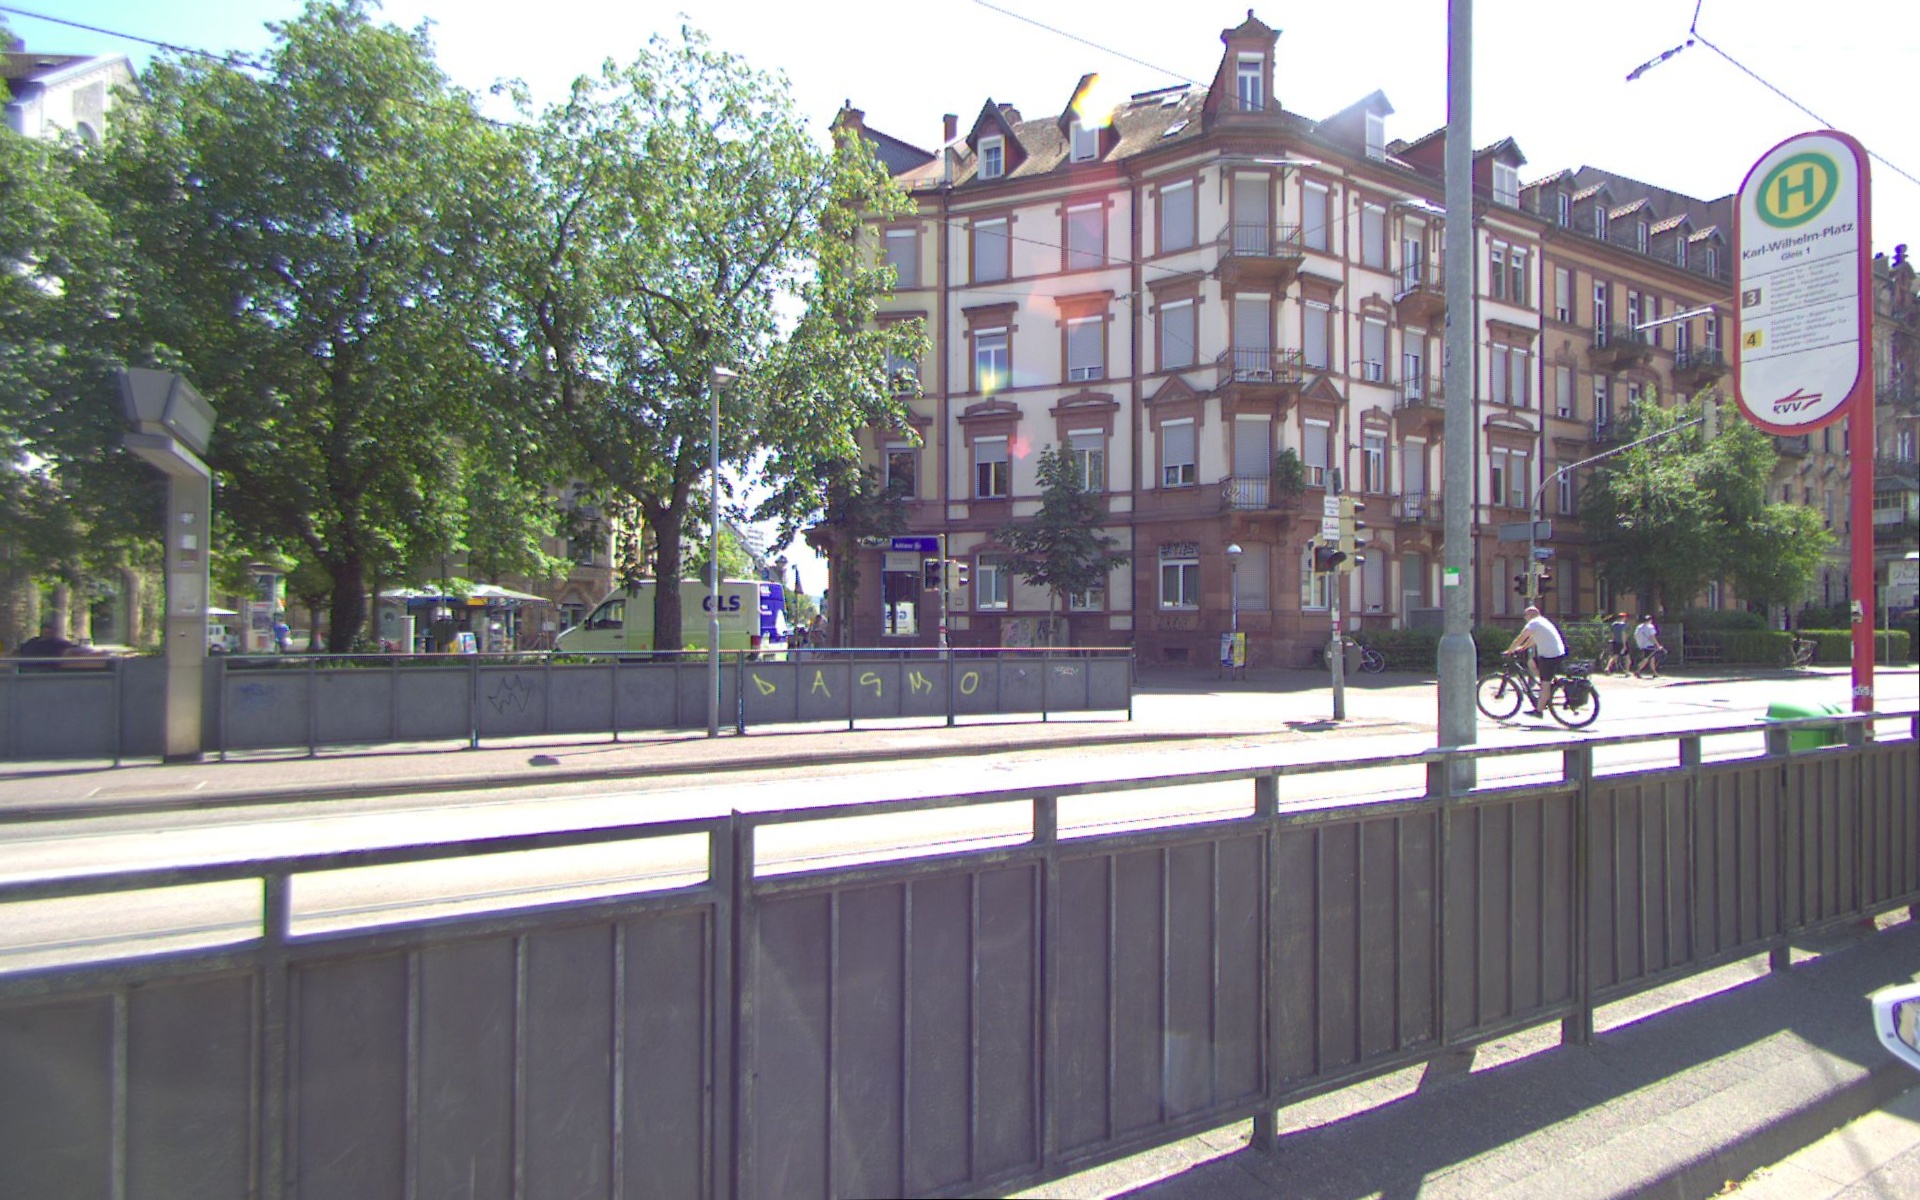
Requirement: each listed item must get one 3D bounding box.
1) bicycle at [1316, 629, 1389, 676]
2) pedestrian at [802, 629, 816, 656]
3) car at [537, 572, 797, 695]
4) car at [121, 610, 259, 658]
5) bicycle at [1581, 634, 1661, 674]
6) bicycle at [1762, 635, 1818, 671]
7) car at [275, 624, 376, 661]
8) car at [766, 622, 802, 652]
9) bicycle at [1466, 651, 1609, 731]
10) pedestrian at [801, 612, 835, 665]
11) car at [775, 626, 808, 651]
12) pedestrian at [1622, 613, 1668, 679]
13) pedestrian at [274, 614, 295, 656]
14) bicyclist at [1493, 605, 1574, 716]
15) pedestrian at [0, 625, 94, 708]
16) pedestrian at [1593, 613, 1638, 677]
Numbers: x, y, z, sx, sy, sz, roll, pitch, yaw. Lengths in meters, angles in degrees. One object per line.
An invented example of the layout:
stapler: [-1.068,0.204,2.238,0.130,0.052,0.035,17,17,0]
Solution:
bicycle: [11.659,1.557,29.865,1.923,1.312,0.564,2,0,11]
pedestrian: [-9.333,2.637,62.004,0.790,1.632,0.731,0,-1,-4]
car: [-7.196,0.763,24.888,5.709,2.709,2.276,2,0,11]
car: [-31.195,1.371,40.819,3.932,1.814,1.994,2,0,-14]
bicycle: [20.222,1.644,30.718,2.742,1.151,0.932,2,0,-31]
bicycle: [28.510,1.800,34.499,2.750,1.151,0.930,2,0,-39]
car: [-32.081,2.163,50.894,3.920,1.730,1.761,2,0,-14]
car: [-10.378,2.177,59.457,1.684,1.617,3.998,2,0,-4]
bicycle: [8.675,1.334,15.154,0.692,1.070,1.750,2,-1,-33]
pedestrian: [-4.698,1.267,33.218,1.041,1.712,0.722,0,-1,-4]
car: [-12.488,2.844,74.761,1.962,1.617,3.998,2,0,-4]
pedestrian: [19.771,1.311,28.992,0.863,1.847,0.812,0,1,-30]
pedestrian: [-27.428,1.407,40.779,0.506,1.692,0.491,0,-1,-8]
bicyclist: [8.664,0.899,15.178,0.692,1.613,0.842,1,-1,-33]
pedestrian: [-14.666,1.047,16.108,0.925,1.261,0.860,2,0,-24]
pedestrian: [19.322,1.307,29.620,0.863,1.847,0.812,0,1,-30]
